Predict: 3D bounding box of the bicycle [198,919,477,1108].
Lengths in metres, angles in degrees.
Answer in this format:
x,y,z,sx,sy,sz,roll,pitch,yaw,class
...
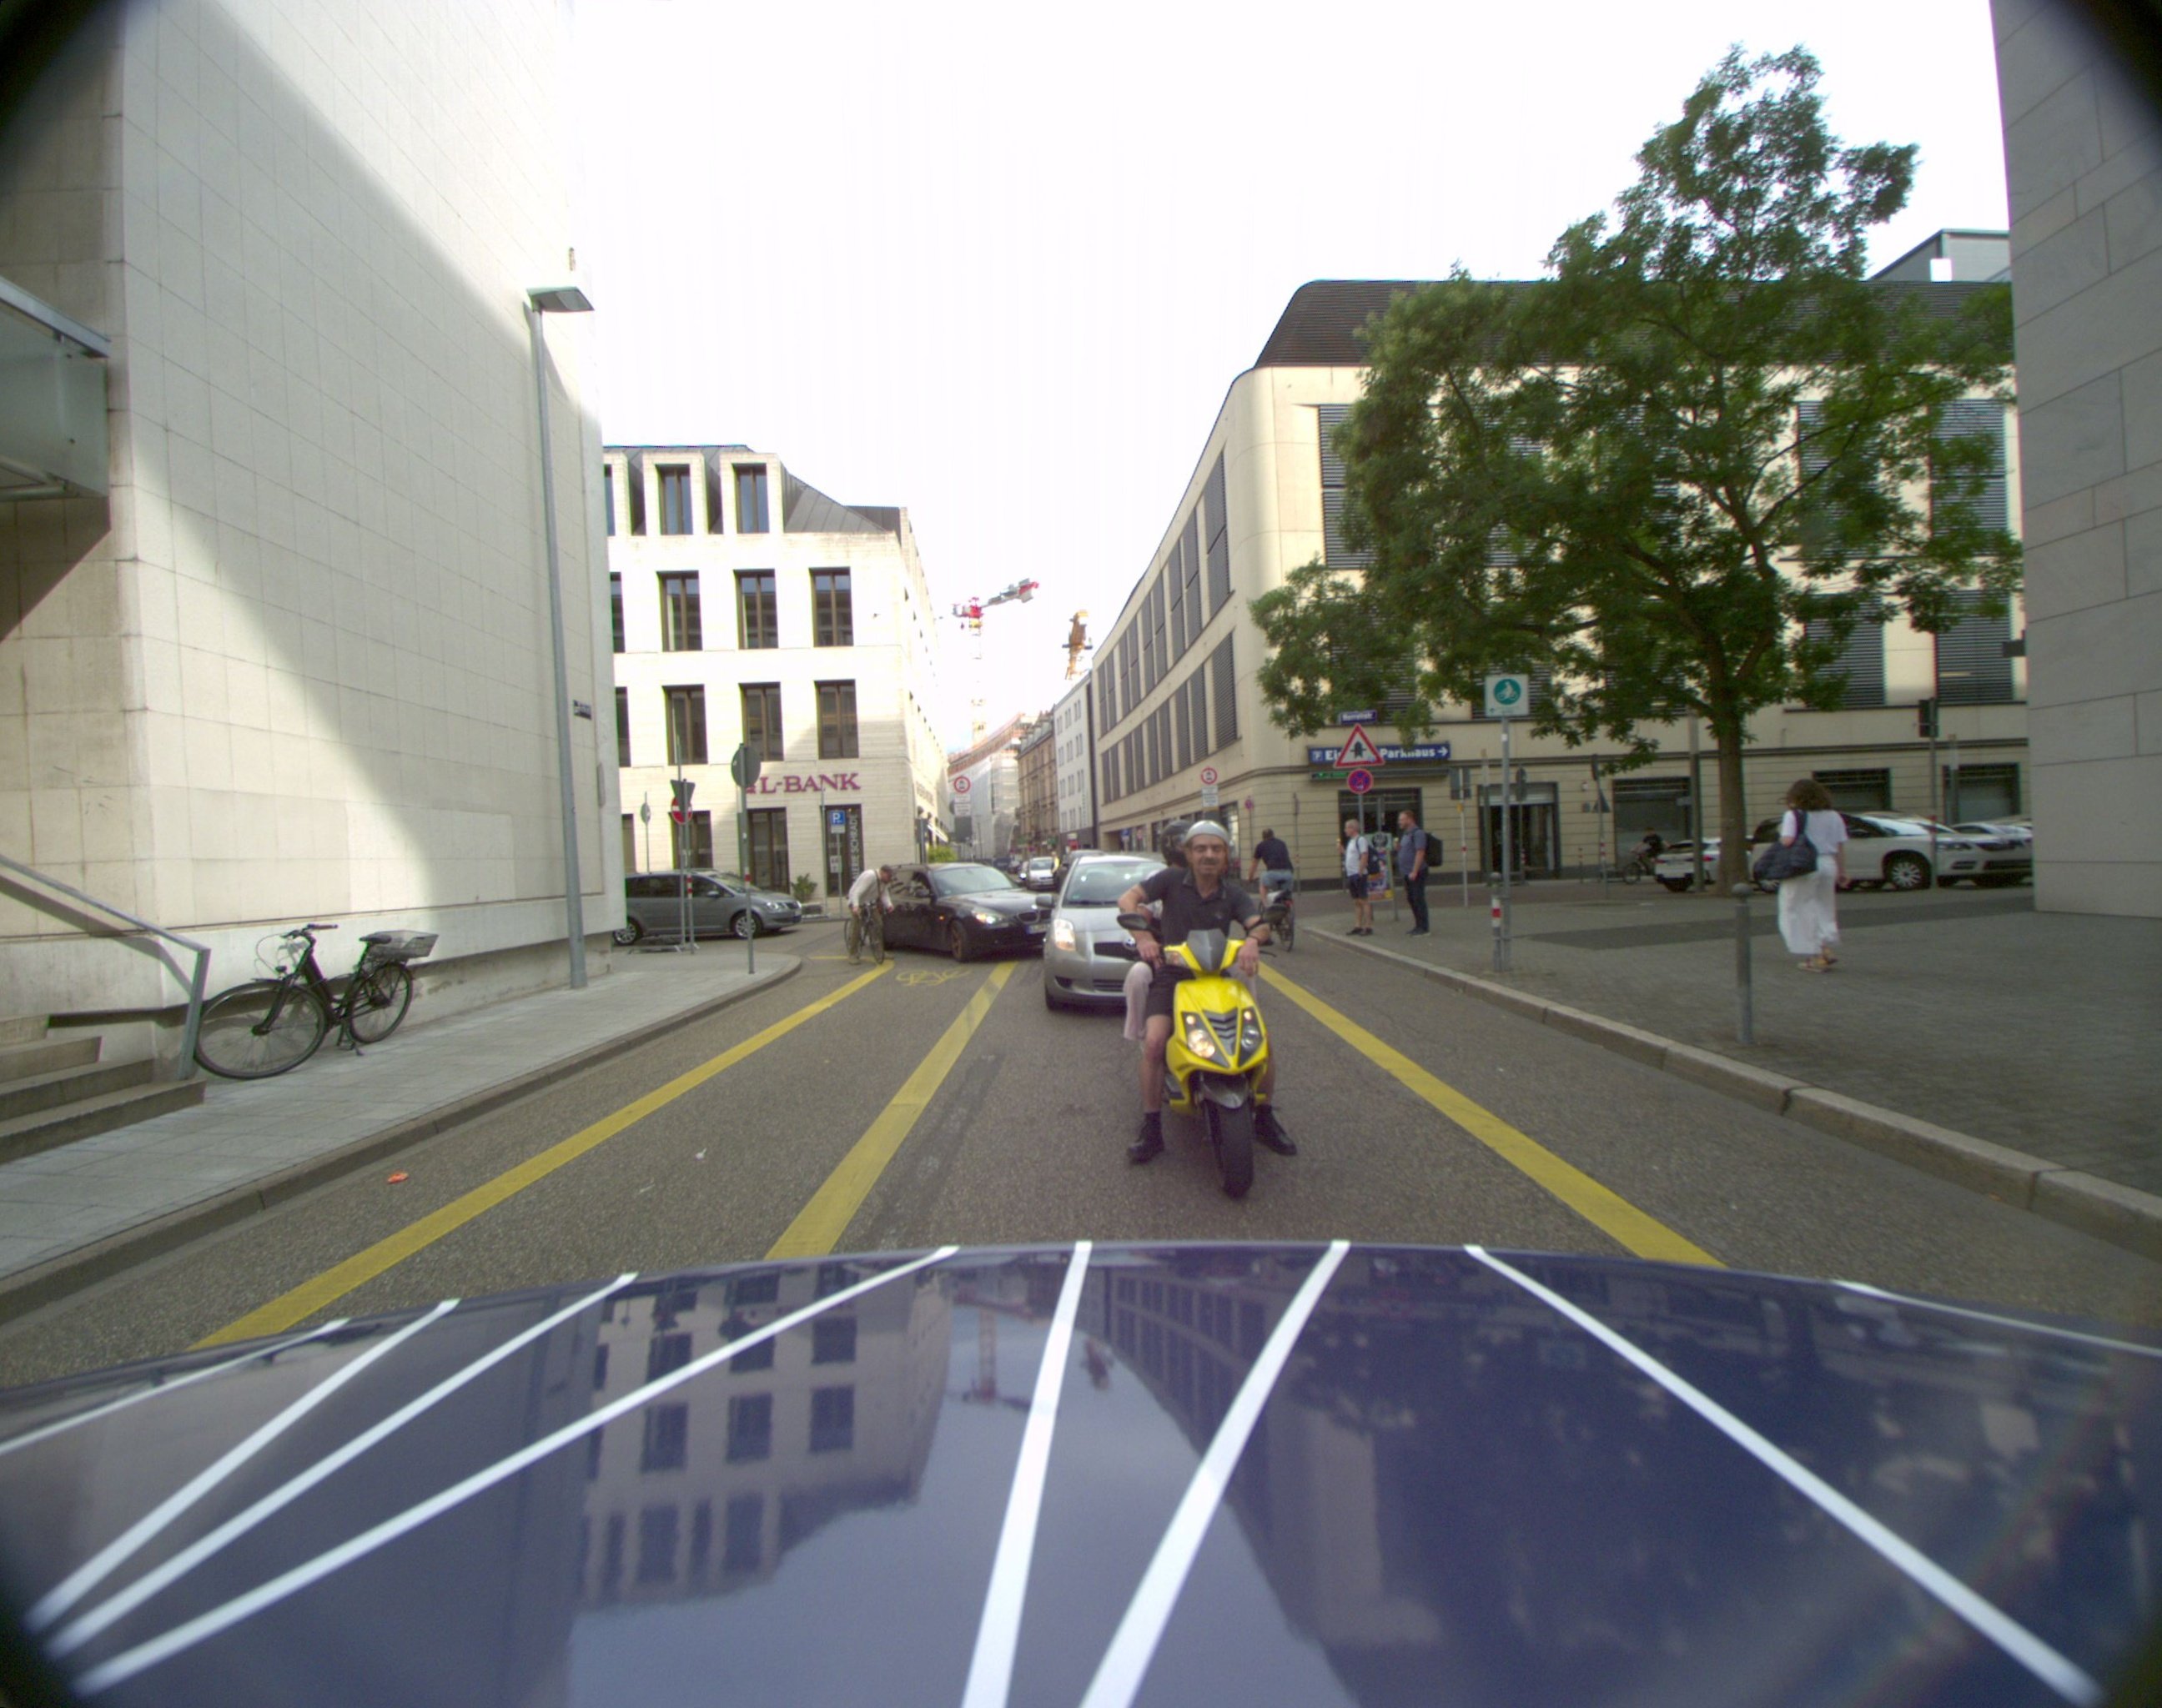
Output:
x,y,z,sx,sy,sz,roll,pitch,yaw,class
-6.052,1.221,6.364,0.590,1.160,1.814,-2,1,-4,bicycle

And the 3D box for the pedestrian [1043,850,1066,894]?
x,y,z,sx,sy,sz,roll,pitch,yaw,class
-1.123,0.739,32.019,0.861,1.820,0.773,-2,1,-5,pedestrian

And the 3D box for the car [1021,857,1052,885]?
x,y,z,sx,sy,sz,roll,pitch,yaw,class
-2.657,0.979,44.615,1.589,1.477,3.997,-2,1,-6,car

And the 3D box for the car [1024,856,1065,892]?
x,y,z,sx,sy,sz,roll,pitch,yaw,class
-1.772,0.895,35.944,1.563,1.547,4.100,-3,1,-7,car

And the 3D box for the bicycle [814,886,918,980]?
x,y,z,sx,sy,sz,roll,pitch,yaw,class
-3.468,1.159,12.014,0.872,1.188,2.857,-3,1,-30,bicycle

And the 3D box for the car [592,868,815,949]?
x,y,z,sx,sy,sz,roll,pitch,yaw,class
-8.648,1.219,17.692,4.193,1.581,1.814,-2,1,-2,car

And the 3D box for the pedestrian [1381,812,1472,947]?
x,y,z,sx,sy,sz,roll,pitch,yaw,class
4.982,0.355,10.990,0.745,1.804,0.756,-6,1,-11,pedestrian

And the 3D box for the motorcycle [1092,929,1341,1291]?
x,y,z,sx,sy,sz,roll,pitch,yaw,class
0.531,1.076,3.940,0.929,1.158,2.127,-1,0,1,motorcycle

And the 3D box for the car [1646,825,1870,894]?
x,y,z,sx,sy,sz,roll,pitch,yaw,class
17.806,0.126,20.109,4.364,1.572,1.814,-2,1,-2,car

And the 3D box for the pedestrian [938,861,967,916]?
x,y,z,sx,sy,sz,roll,pitch,yaw,class
-4.424,1.154,26.159,0.774,1.820,0.860,-3,1,-20,pedestrian

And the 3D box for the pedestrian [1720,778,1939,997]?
x,y,z,sx,sy,sz,roll,pitch,yaw,class
6.449,0.268,6.607,0.879,1.699,0.910,-6,1,0,pedestrian

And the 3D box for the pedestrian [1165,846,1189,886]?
x,y,z,sx,sy,sz,roll,pitch,yaw,class
4.497,0.533,35.618,0.892,1.755,1.061,-6,1,3,pedestrian

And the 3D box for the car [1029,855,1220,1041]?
x,y,z,sx,sy,sz,roll,pitch,yaw,class
0.435,0.812,8.383,1.562,1.482,3.784,-3,1,2,car

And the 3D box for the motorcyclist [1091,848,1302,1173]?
x,y,z,sx,sy,sz,roll,pitch,yaw,class
0.525,0.702,3.921,0.924,1.445,1.065,-1,0,1,motorcyclist

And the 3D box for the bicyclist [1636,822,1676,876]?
x,y,z,sx,sy,sz,roll,pitch,yaw,class
17.910,-0.154,23.691,0.643,1.609,0.623,-5,0,-3,bicyclist

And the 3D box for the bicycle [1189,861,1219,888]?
x,y,z,sx,sy,sz,roll,pitch,yaw,class
5.358,0.882,33.285,0.692,1.038,2.543,-2,1,-4,bicycle

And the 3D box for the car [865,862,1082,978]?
x,y,z,sx,sy,sz,roll,pitch,yaw,class
-1.854,0.932,12.199,1.720,1.482,3.755,-3,1,-38,car

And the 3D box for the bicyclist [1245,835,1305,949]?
x,y,z,sx,sy,sz,roll,pitch,yaw,class
2.882,0.541,11.350,0.644,1.644,0.939,0,1,0,bicyclist

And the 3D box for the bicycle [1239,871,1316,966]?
x,y,z,sx,sy,sz,roll,pitch,yaw,class
2.889,0.910,11.362,0.648,1.233,1.953,0,1,0,bicycle

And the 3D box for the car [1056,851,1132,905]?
x,y,z,sx,sy,sz,roll,pitch,yaw,class
0.323,0.695,24.371,1.710,1.482,4.100,-3,1,-8,car

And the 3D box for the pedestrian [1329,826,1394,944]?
x,y,z,sx,sy,sz,roll,pitch,yaw,class
4.347,0.470,11.811,0.644,1.755,0.653,-3,1,-11,pedestrian

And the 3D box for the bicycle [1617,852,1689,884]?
x,y,z,sx,sy,sz,roll,pitch,yaw,class
17.806,0.448,23.666,1.724,0.829,0.602,-5,-2,-3,bicycle

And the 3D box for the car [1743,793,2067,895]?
x,y,z,sx,sy,sz,roll,pitch,yaw,class
15.913,-0.078,15.059,1.899,1.682,3.964,-2,-3,-3,car

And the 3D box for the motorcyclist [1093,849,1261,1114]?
x,y,z,sx,sy,sz,roll,pitch,yaw,class
0.533,0.699,4.532,0.903,1.445,0.742,-1,0,1,motorcyclist

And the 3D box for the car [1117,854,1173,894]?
x,y,z,sx,sy,sz,roll,pitch,yaw,class
2.721,0.811,33.130,1.563,1.547,4.100,-3,1,-7,car

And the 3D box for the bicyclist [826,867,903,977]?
x,y,z,sx,sy,sz,roll,pitch,yaw,class
-3.370,1.013,11.816,0.894,1.585,0.875,-3,1,-30,bicyclist
